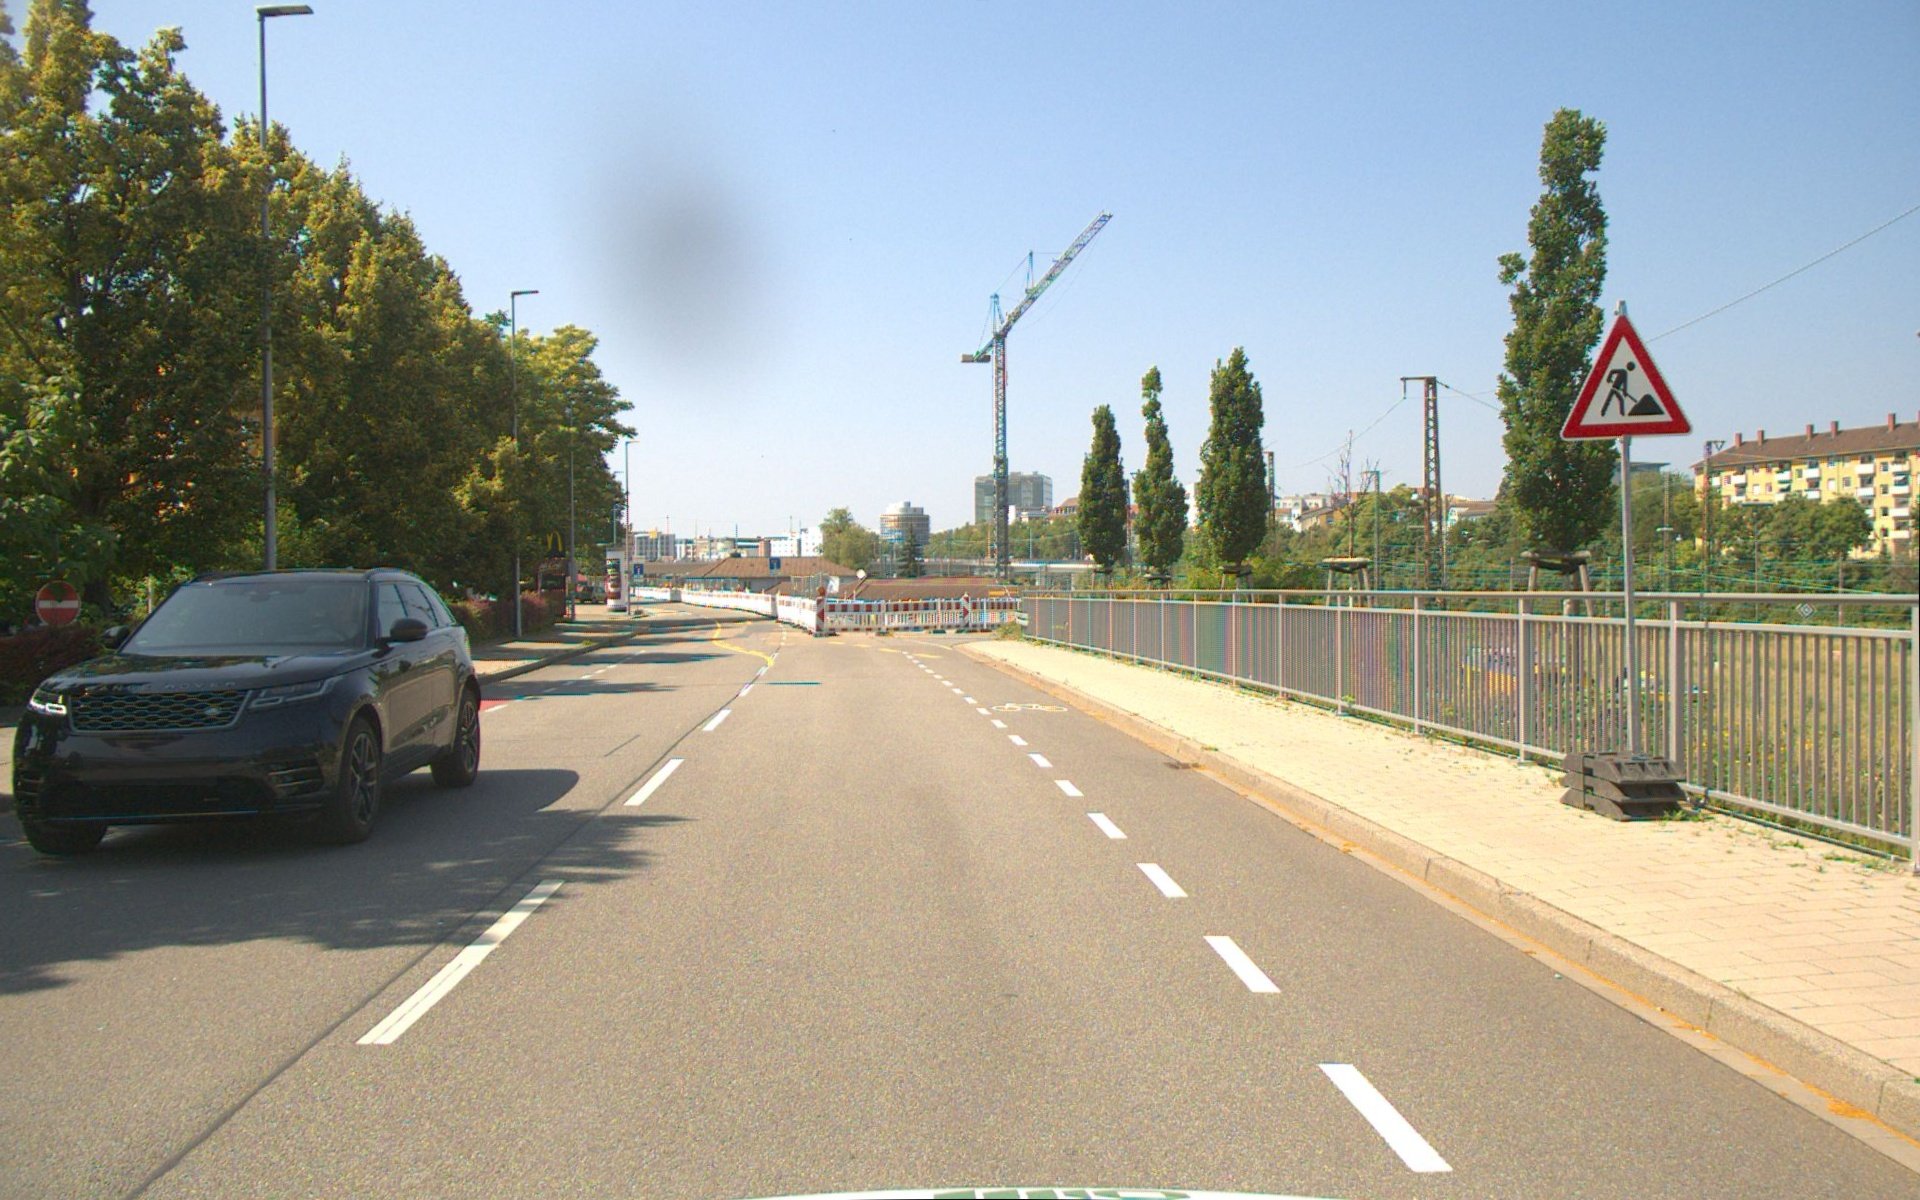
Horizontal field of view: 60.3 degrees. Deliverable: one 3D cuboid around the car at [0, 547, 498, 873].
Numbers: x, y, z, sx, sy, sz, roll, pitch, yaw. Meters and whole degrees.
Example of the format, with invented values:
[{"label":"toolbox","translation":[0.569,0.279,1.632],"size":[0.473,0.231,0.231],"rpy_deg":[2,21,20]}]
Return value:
[{"label":"car","translation":[-4.582,0.561,11.307],"size":[1.912,1.725,4.608],"rpy_deg":[-1,1,-5]}]
